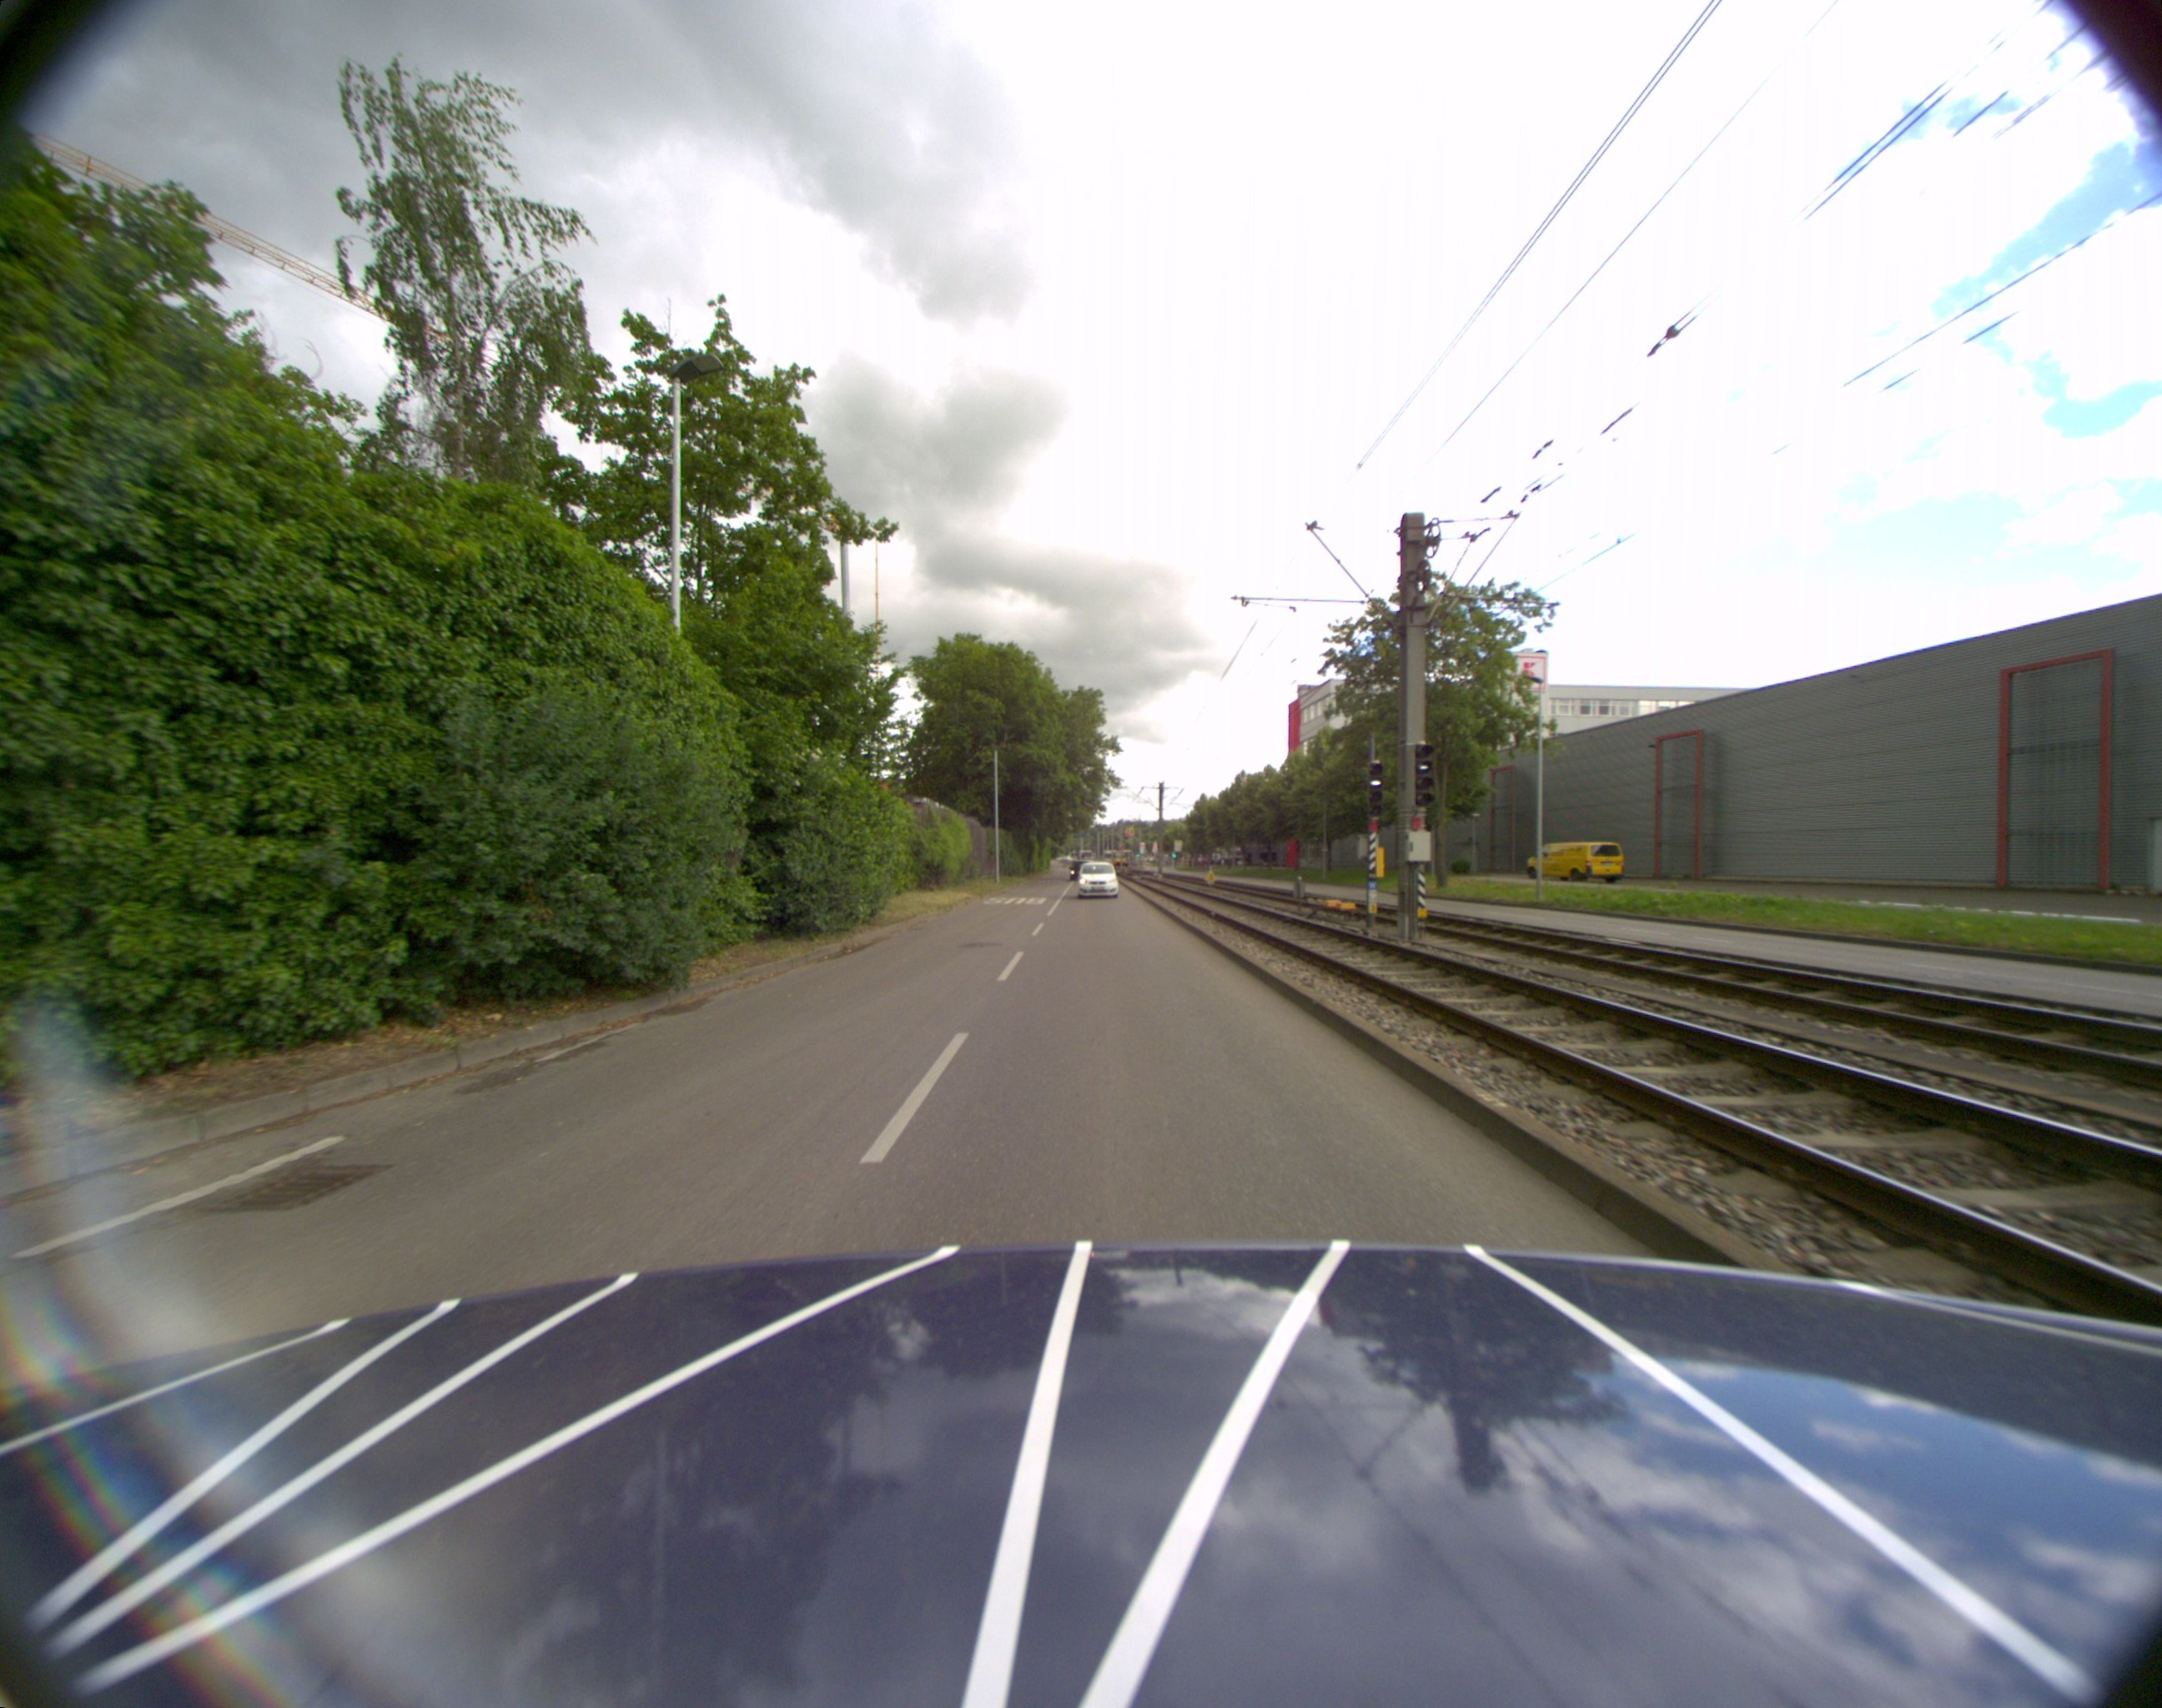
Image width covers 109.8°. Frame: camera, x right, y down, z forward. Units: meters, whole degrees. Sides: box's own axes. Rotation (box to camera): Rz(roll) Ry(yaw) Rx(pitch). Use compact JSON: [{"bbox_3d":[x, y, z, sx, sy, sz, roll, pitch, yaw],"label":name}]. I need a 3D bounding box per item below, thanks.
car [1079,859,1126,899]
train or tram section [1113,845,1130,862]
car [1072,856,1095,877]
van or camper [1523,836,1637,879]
[{"bbox_3d":[0.819,0.989,31.317,1.765,1.469,4.031,-1,0,0],"label":"car"},{"bbox_3d":[9.404,-0.094,177.087,2.778,3.753,13.785,0,0,-1],"label":"train or tram section"},{"bbox_3d":[0.217,0.944,60.295,1.714,1.586,4.000,0,0,1],"label":"car"},{"bbox_3d":[24.701,0.169,37.909,2.109,2.002,5.241,0,0,-3],"label":"van or camper"}]
